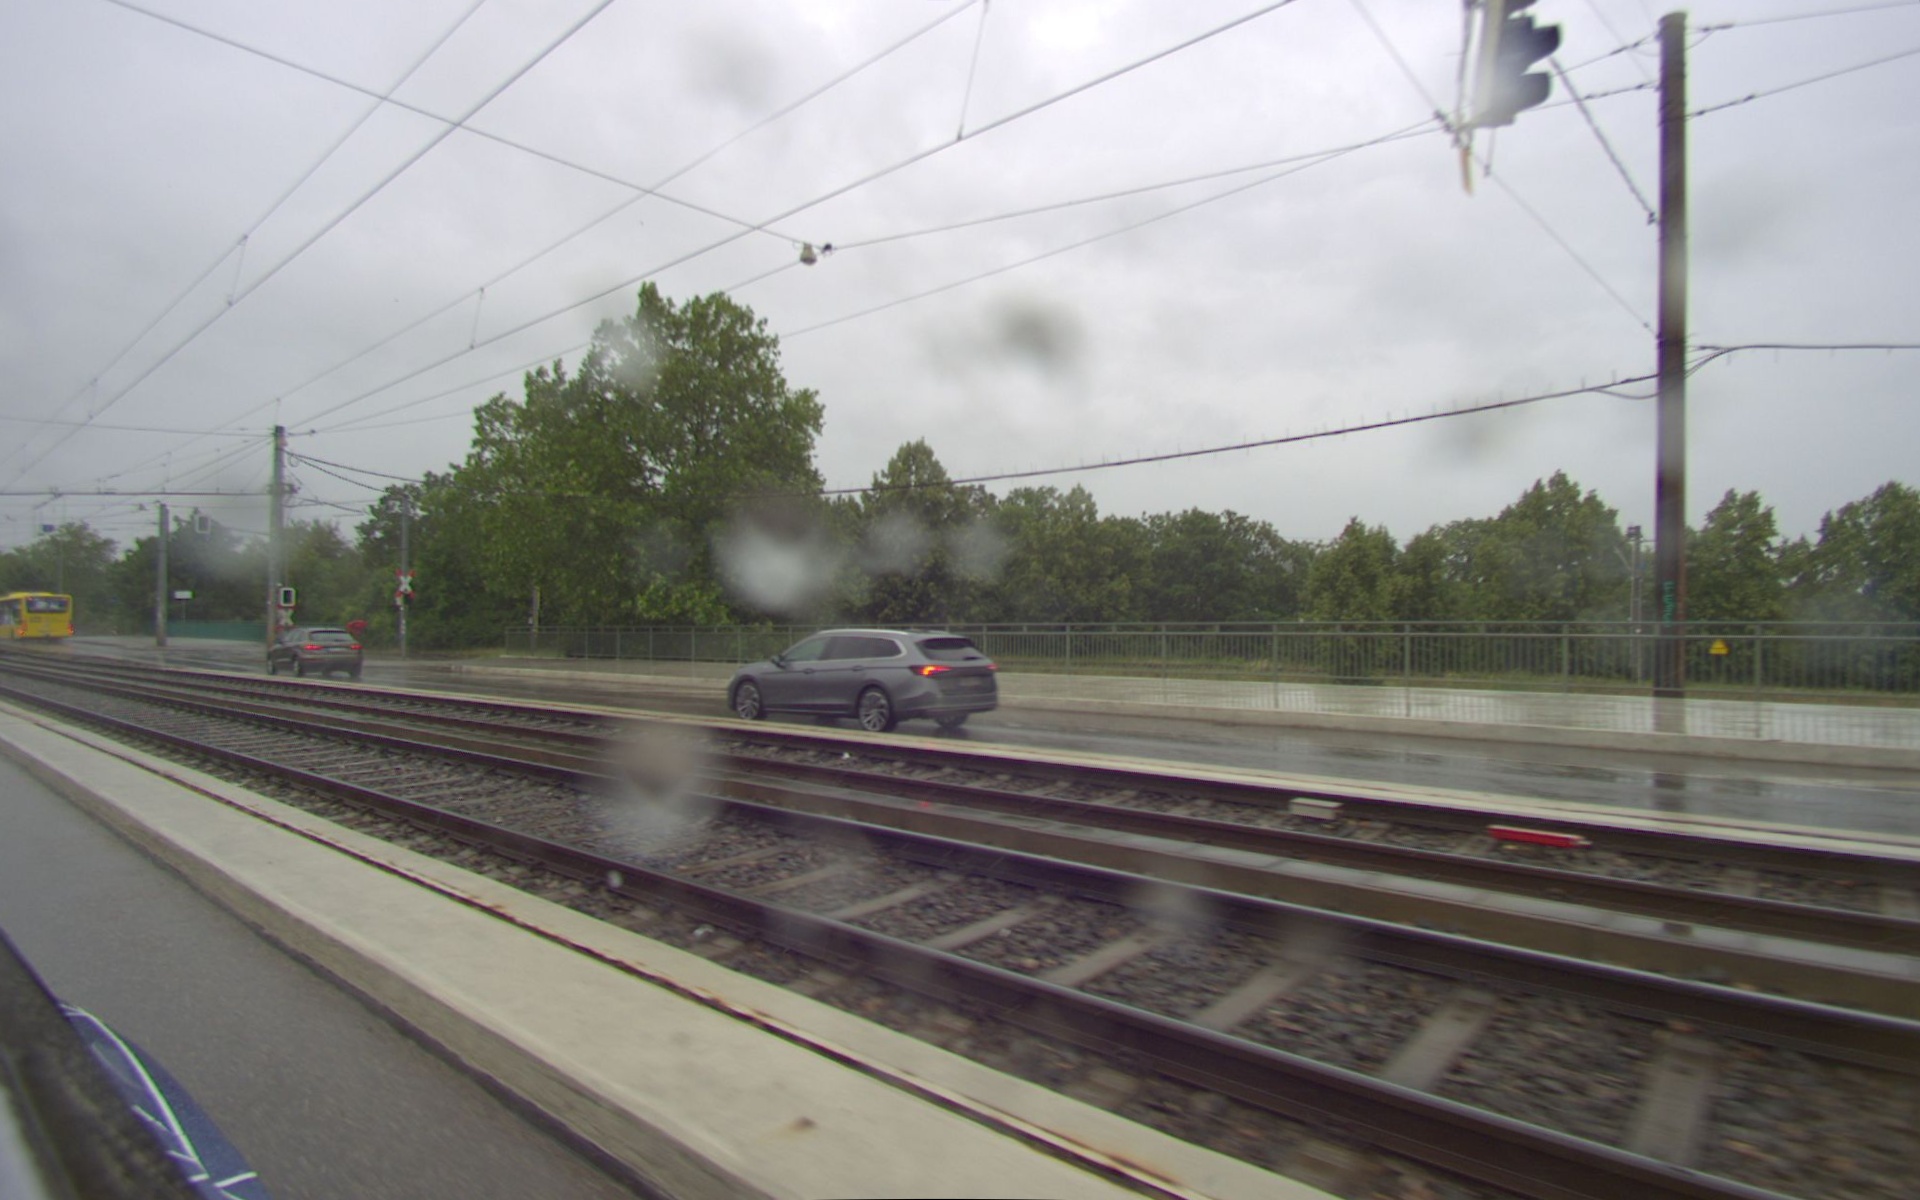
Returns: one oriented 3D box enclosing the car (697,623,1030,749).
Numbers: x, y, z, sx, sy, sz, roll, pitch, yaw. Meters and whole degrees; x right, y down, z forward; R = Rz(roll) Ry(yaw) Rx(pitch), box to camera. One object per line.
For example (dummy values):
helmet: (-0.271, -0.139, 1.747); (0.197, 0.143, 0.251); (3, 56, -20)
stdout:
car: (-1.609, 1.188, 15.451); (5.107, 1.520, 1.974); (0, -2, 39)

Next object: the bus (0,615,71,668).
bus: (-63.329, 2.913, 68.916); (10.986, 3.367, 2.680); (-3, -4, 41)

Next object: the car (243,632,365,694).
car: (-21.189, 1.963, 32.609); (4.939, 1.730, 1.973); (0, -2, 41)

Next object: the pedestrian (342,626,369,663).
pedestrian: (-30.978, 2.267, 51.849); (1.042, 1.832, 0.856); (0, 1, 39)
